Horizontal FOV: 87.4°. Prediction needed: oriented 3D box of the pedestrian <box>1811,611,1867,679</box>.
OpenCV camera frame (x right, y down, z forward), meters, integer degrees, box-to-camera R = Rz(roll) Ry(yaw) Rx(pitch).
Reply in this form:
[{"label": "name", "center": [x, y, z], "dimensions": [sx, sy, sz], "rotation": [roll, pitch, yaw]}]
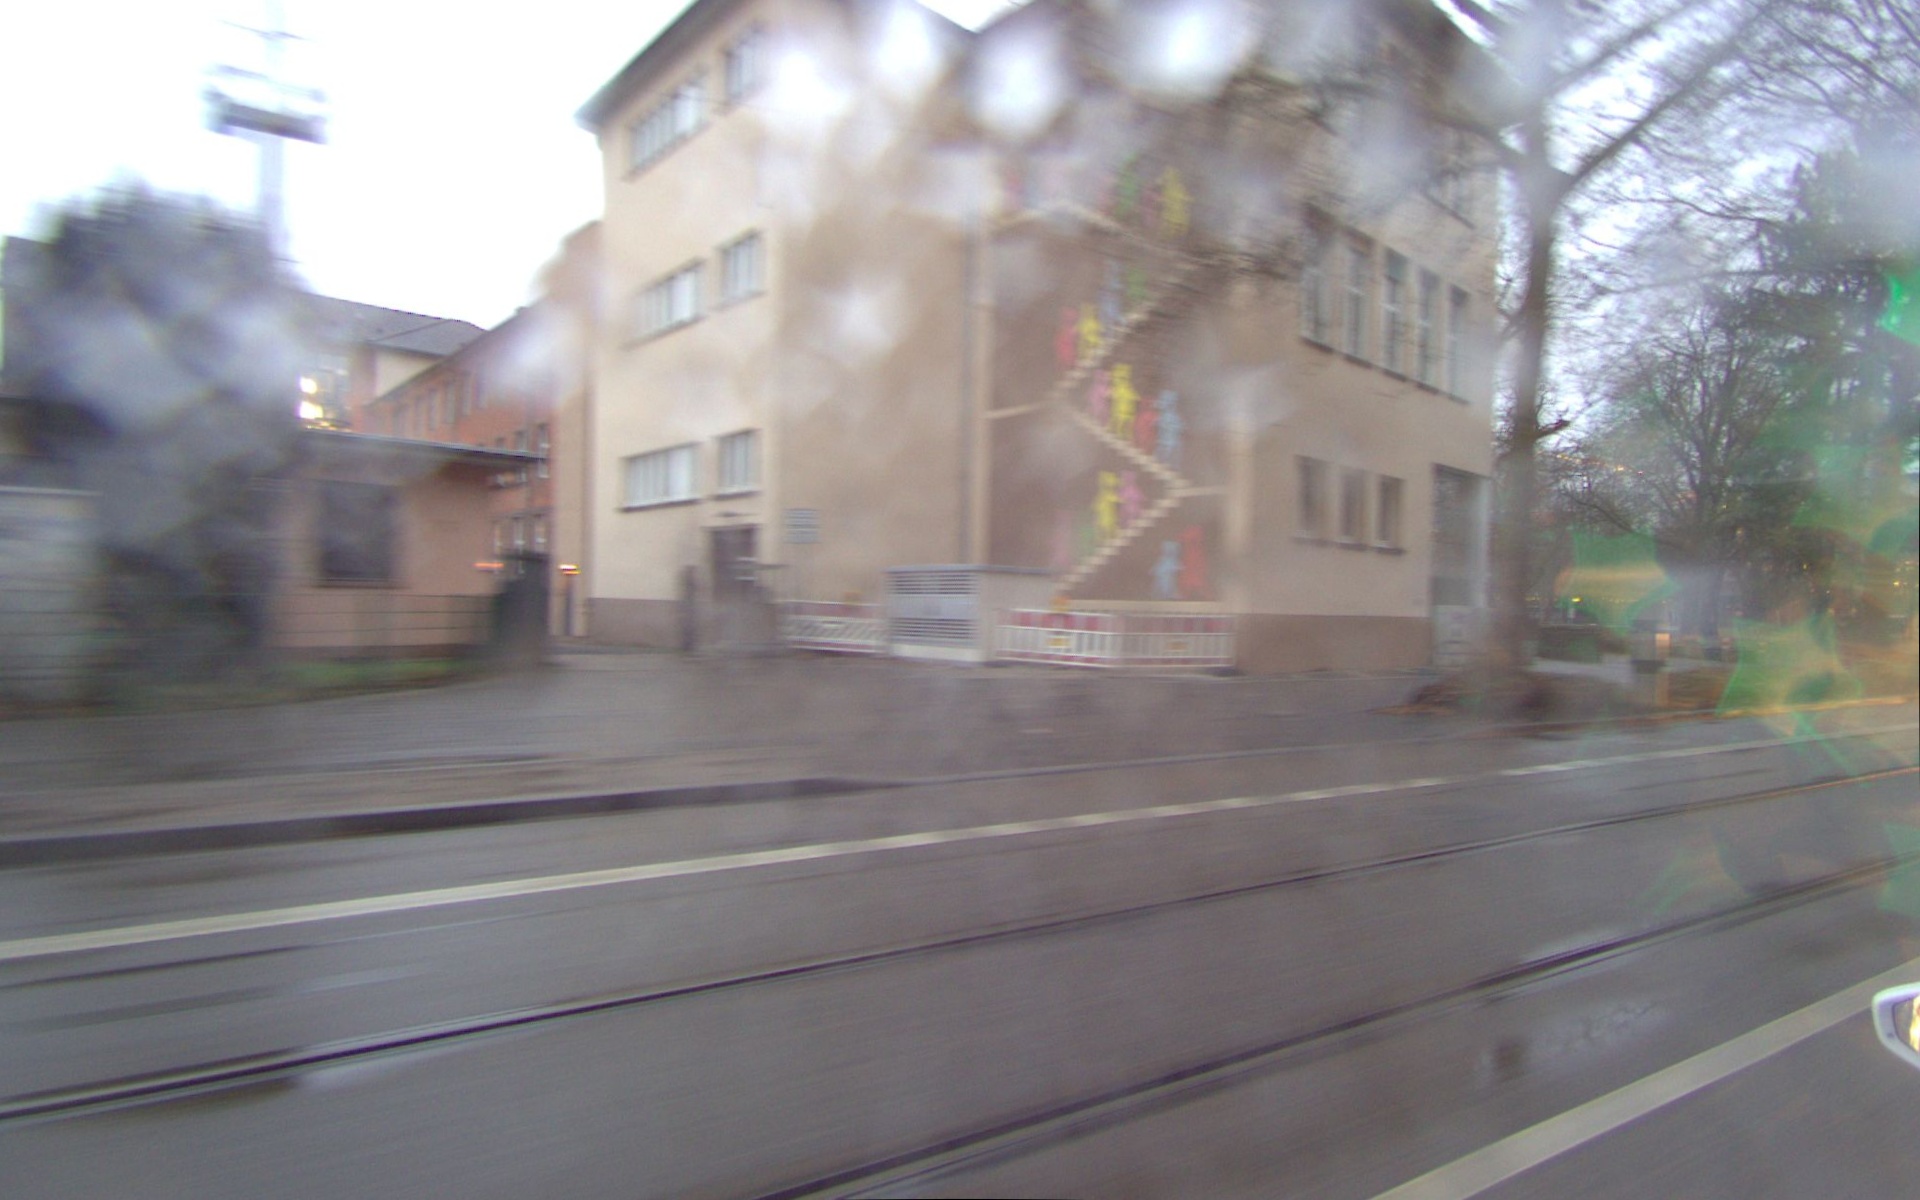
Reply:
[{"label": "pedestrian", "center": [24.585, 1.256, 28.098], "dimensions": [0.996, 1.839, 0.817], "rotation": [2, 1, -27]}]
